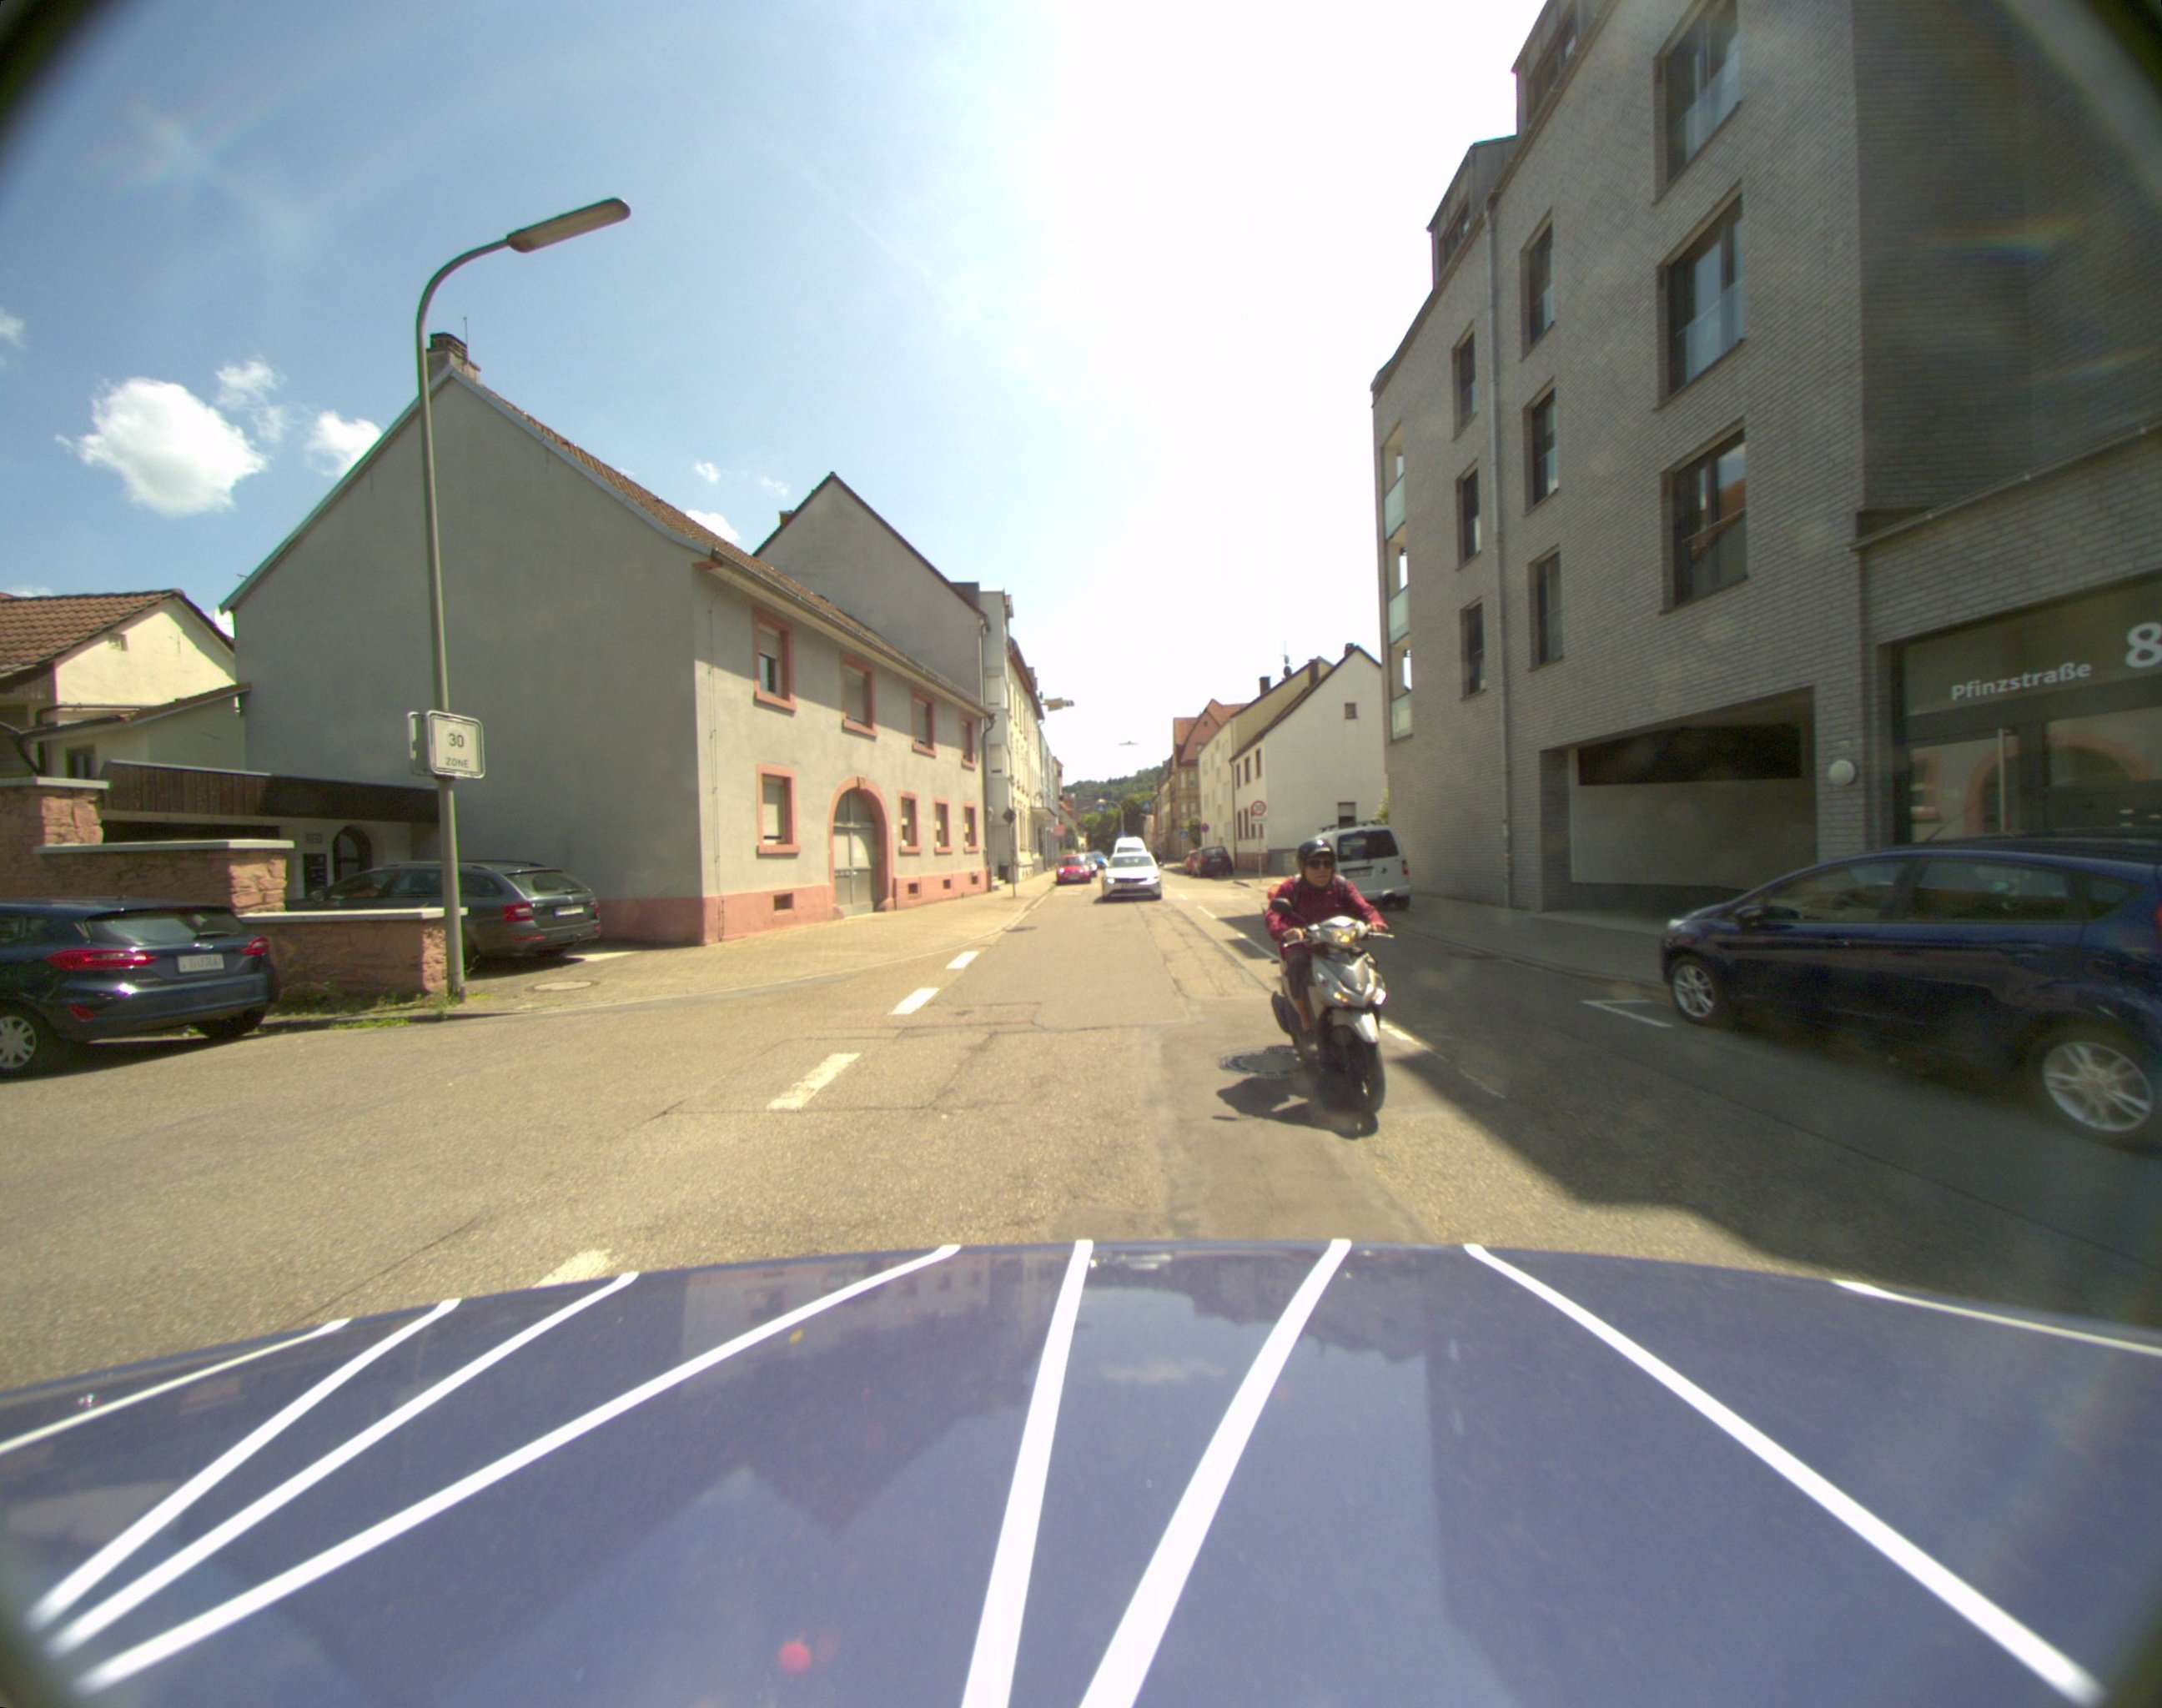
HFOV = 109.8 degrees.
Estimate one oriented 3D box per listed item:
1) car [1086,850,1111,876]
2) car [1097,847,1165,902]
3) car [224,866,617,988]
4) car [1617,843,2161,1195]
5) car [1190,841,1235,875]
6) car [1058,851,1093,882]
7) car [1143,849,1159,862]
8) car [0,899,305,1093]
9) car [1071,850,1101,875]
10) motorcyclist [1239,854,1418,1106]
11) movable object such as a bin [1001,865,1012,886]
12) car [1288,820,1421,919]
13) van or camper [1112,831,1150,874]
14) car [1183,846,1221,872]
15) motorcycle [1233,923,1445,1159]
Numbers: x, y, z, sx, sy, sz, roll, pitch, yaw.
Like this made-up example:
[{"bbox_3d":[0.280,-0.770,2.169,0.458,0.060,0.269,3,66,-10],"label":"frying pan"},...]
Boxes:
[{"bbox_3d":[1.529,0.751,66.150,1.998,2.002,4.000,-4,0,2],"label":"car"},{"bbox_3d":[1.490,0.601,23.968,1.812,1.512,4.000,-3,0,0],"label":"car"},{"bbox_3d":[-9.326,0.969,10.943,4.277,1.521,1.742,0,2,5],"label":"car"},{"bbox_3d":[5.627,0.703,4.809,1.727,1.448,4.005,-3,1,3],"label":"car"},{"bbox_3d":[6.958,0.181,40.428,1.799,1.637,3.945,-3,1,3],"label":"car"},{"bbox_3d":[-0.269,0.594,37.624,1.623,1.377,3.538,-2,0,0],"label":"car"},{"bbox_3d":[8.310,0.140,90.509,1.787,1.450,4.635,-1,1,4],"label":"car"},{"bbox_3d":[-9.751,1.245,6.900,3.607,1.440,1.742,-3,-1,1],"label":"car"},{"bbox_3d":[0.281,0.498,46.889,1.733,1.412,4.544,-2,1,0],"label":"car"},{"bbox_3d":[1.539,0.731,4.910,0.793,1.431,1.020,-3,0,2],"label":"motorcyclist"},{"bbox_3d":[-3.456,0.998,35.235,0.474,0.929,0.487,-1,1,-6],"label":"movable object such as a bin"},{"bbox_3d":[6.107,0.305,17.515,1.761,1.881,4.338,-4,0,6],"label":"car"},{"bbox_3d":[2.877,-0.077,44.491,1.998,2.273,5.145,-2,0,2],"label":"van or camper"},{"bbox_3d":[7.141,0.254,45.315,1.838,1.408,4.290,-2,1,4],"label":"car"},{"bbox_3d":[1.569,1.086,5.037,0.760,1.049,1.992,-3,0,2],"label":"motorcycle"}]
